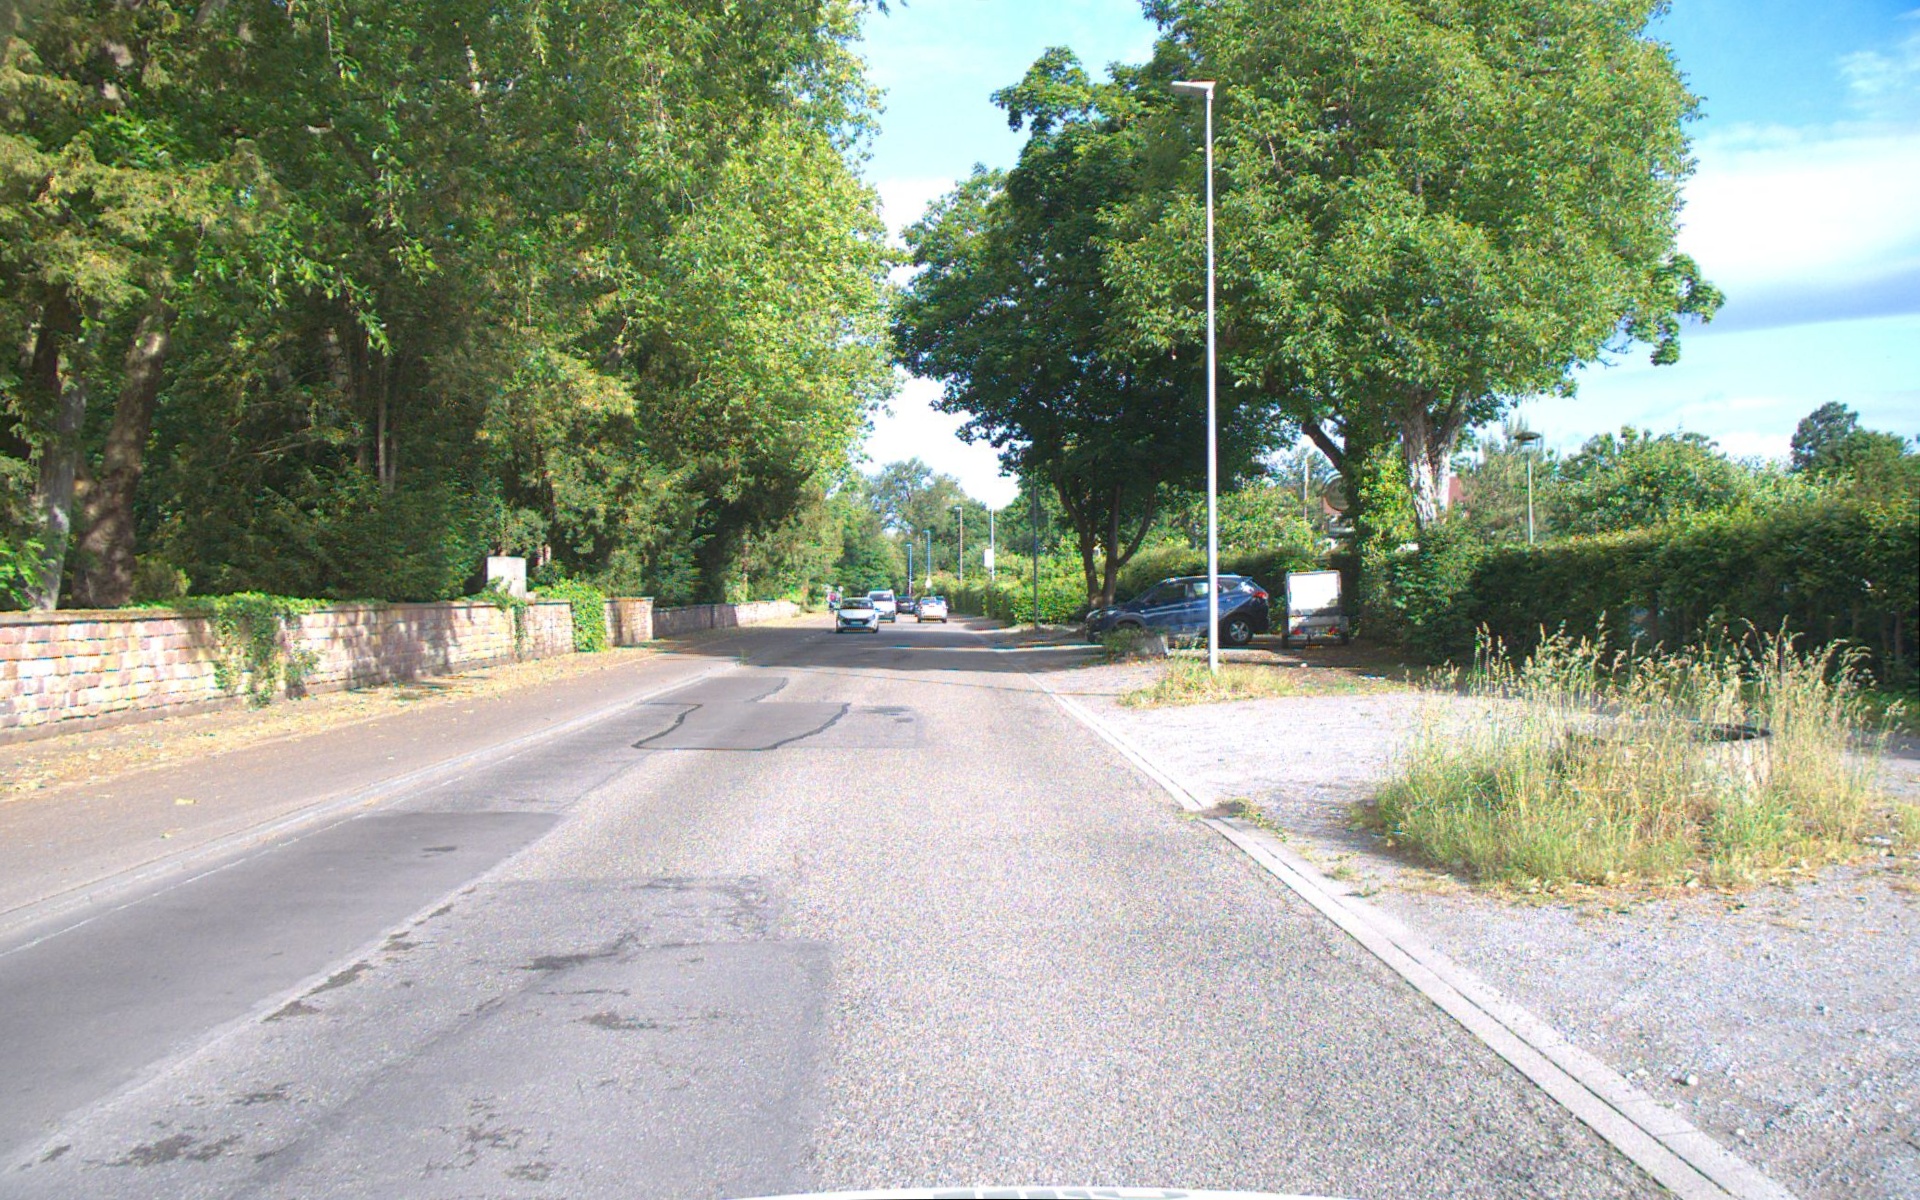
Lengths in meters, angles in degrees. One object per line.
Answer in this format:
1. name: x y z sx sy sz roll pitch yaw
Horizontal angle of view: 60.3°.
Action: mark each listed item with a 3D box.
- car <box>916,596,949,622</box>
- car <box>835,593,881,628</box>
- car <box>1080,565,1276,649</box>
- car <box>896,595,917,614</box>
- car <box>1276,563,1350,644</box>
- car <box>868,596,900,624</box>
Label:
1. car: -1.615 0.504 96.071 1.848 1.396 4.053 -1 0 -2
2. car: -4.289 0.431 69.510 1.849 1.396 4.051 -1 0 -4
3. car: 5.148 0.150 39.409 4.314 1.675 2.000 -4 0 -1
4. car: -4.787 0.394 147.671 1.848 1.641 4.053 -1 0 -2
5. car: 7.970 0.034 37.540 1.322 1.661 4.115 -3 1 9
6. car: -4.511 0.550 98.163 1.848 1.591 4.053 -1 0 -2
